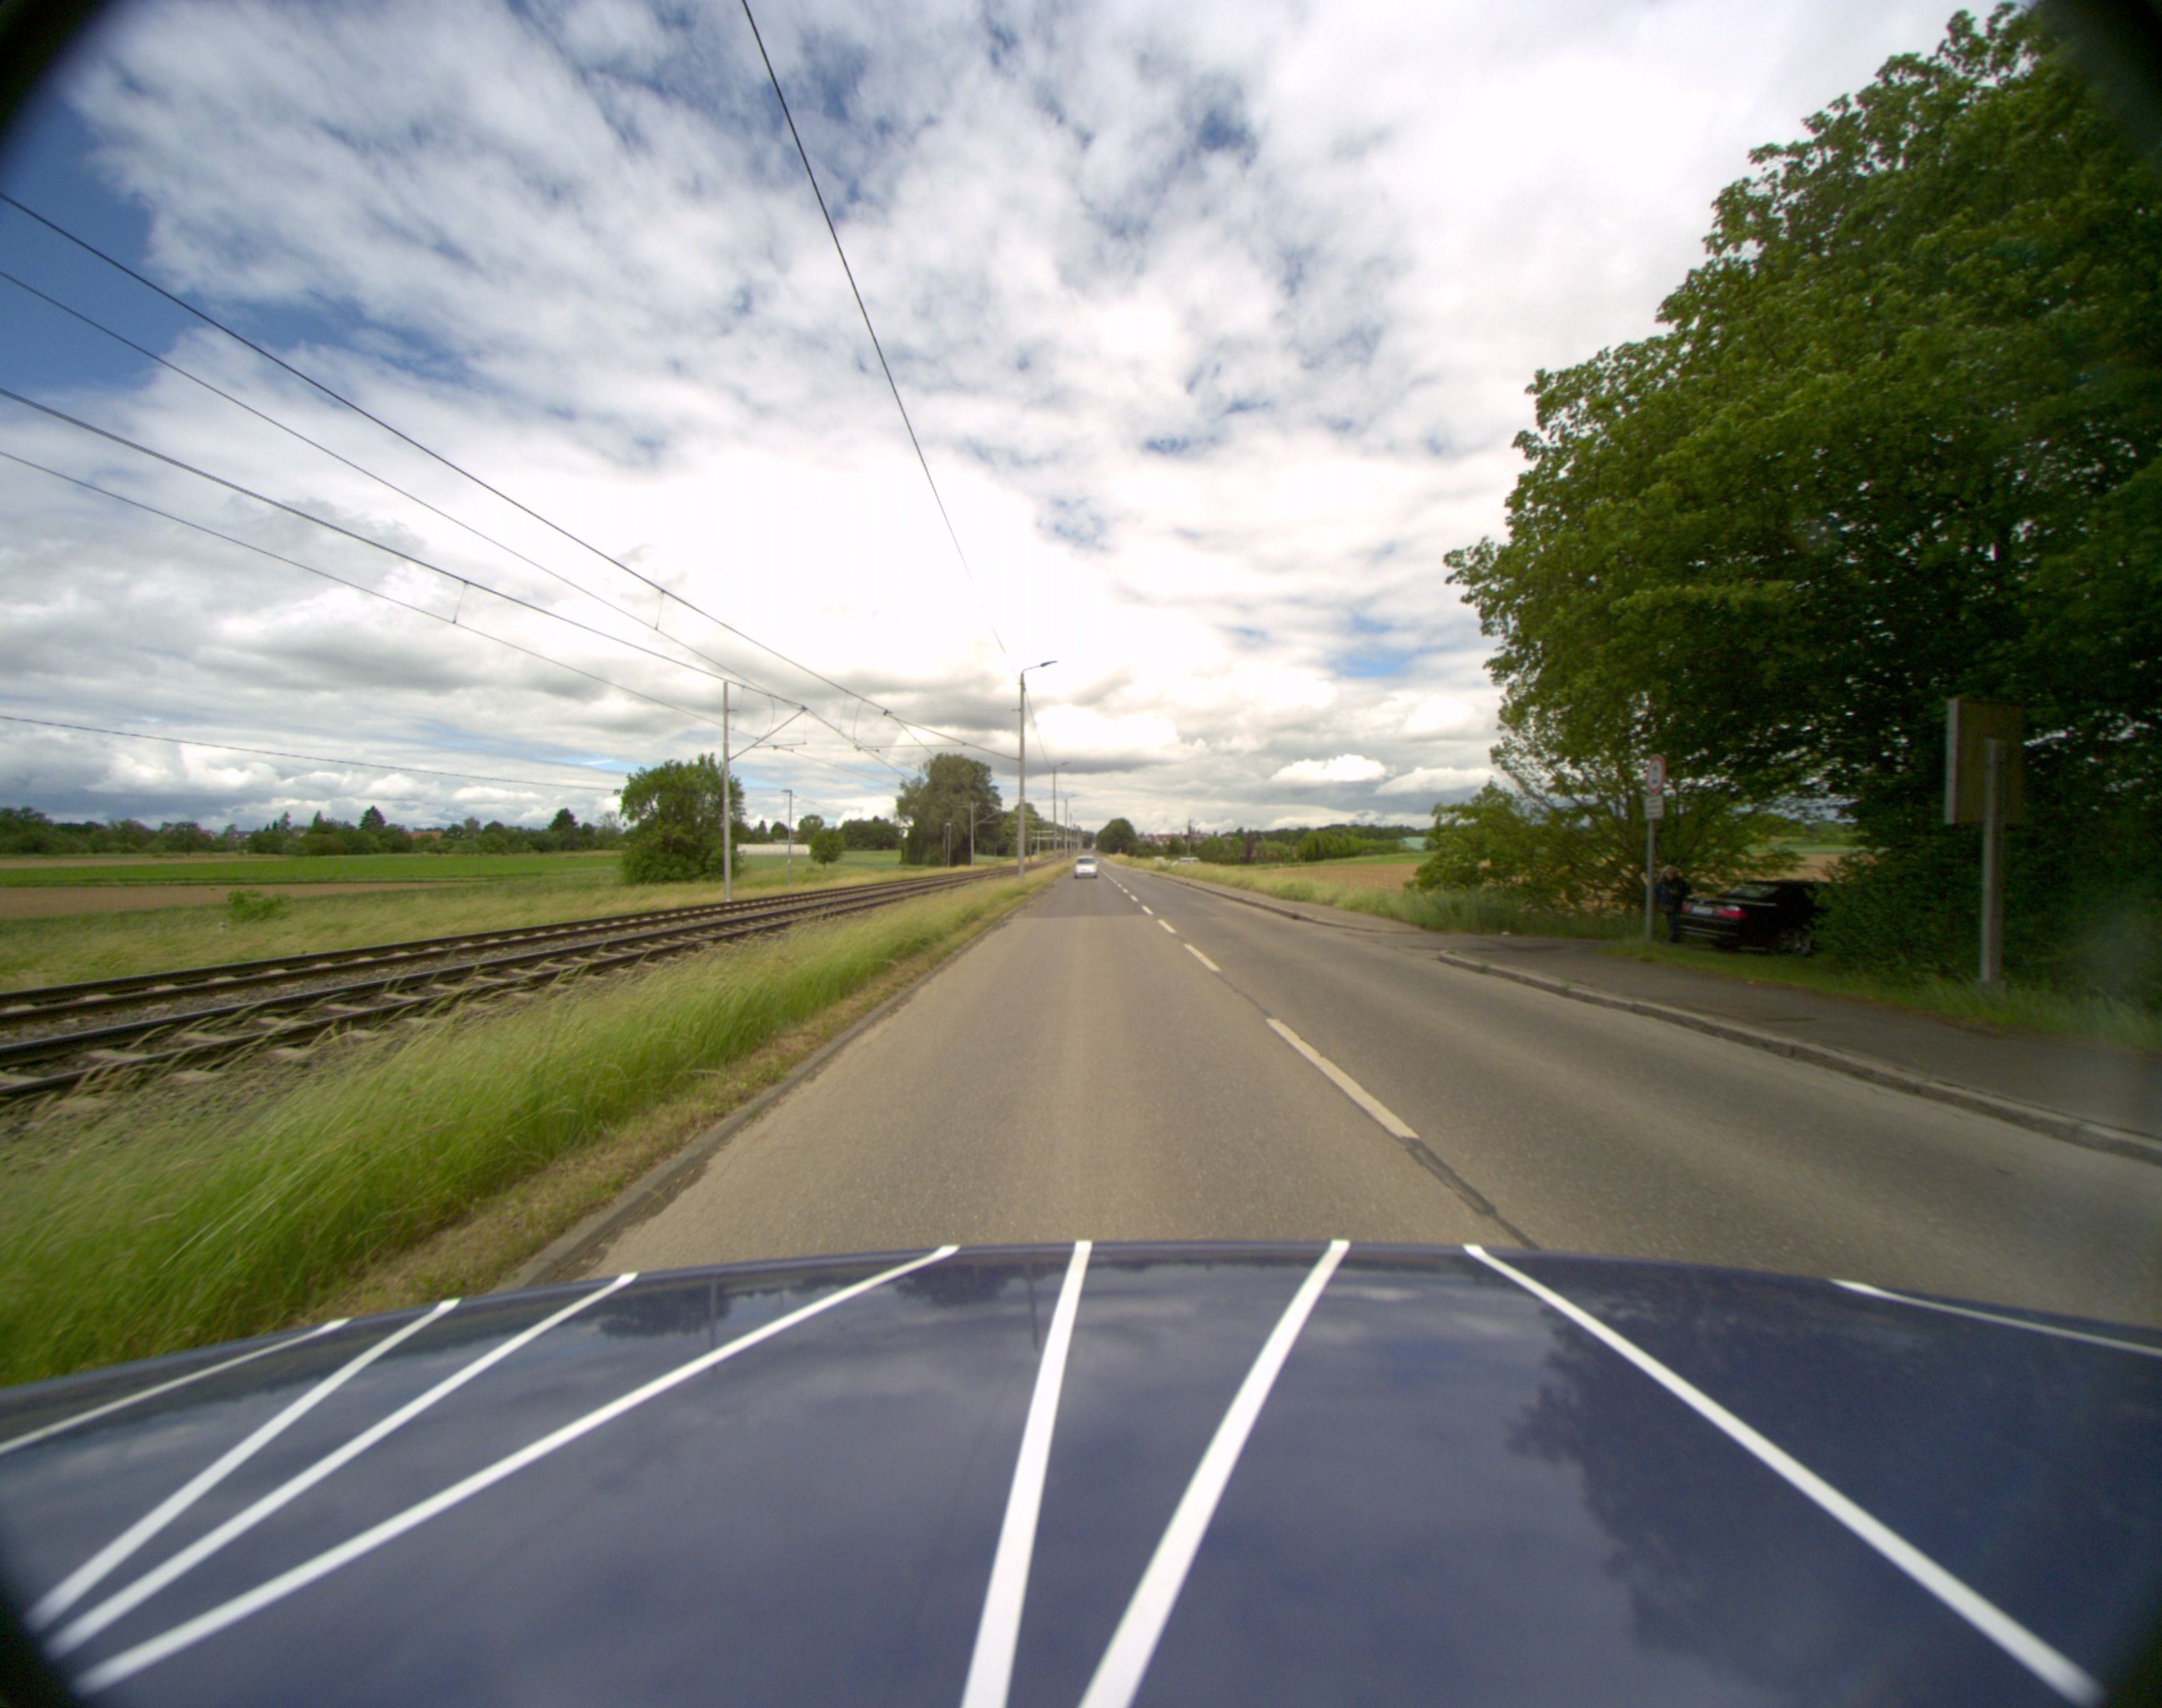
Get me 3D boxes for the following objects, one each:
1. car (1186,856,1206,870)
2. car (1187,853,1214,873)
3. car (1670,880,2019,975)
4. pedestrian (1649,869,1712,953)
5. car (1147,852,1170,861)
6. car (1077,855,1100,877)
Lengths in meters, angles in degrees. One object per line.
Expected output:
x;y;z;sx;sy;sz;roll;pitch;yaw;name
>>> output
11.168;0.884;74.077;1.451;1.244;3.599;-2;1;1;car
9.036;0.657;57.547;1.472;1.439;3.868;-2;1;1;car
13.030;1.211;13.233;3.994;1.304;1.745;2;1;8;car
11.628;1.082;14.766;0.706;1.584;0.707;0;-1;11;pedestrian
11.664;0.378;114.375;3.216;1.244;1.455;-1;1;29;car
0.568;0.862;56.242;1.643;1.510;3.868;-2;1;1;car
